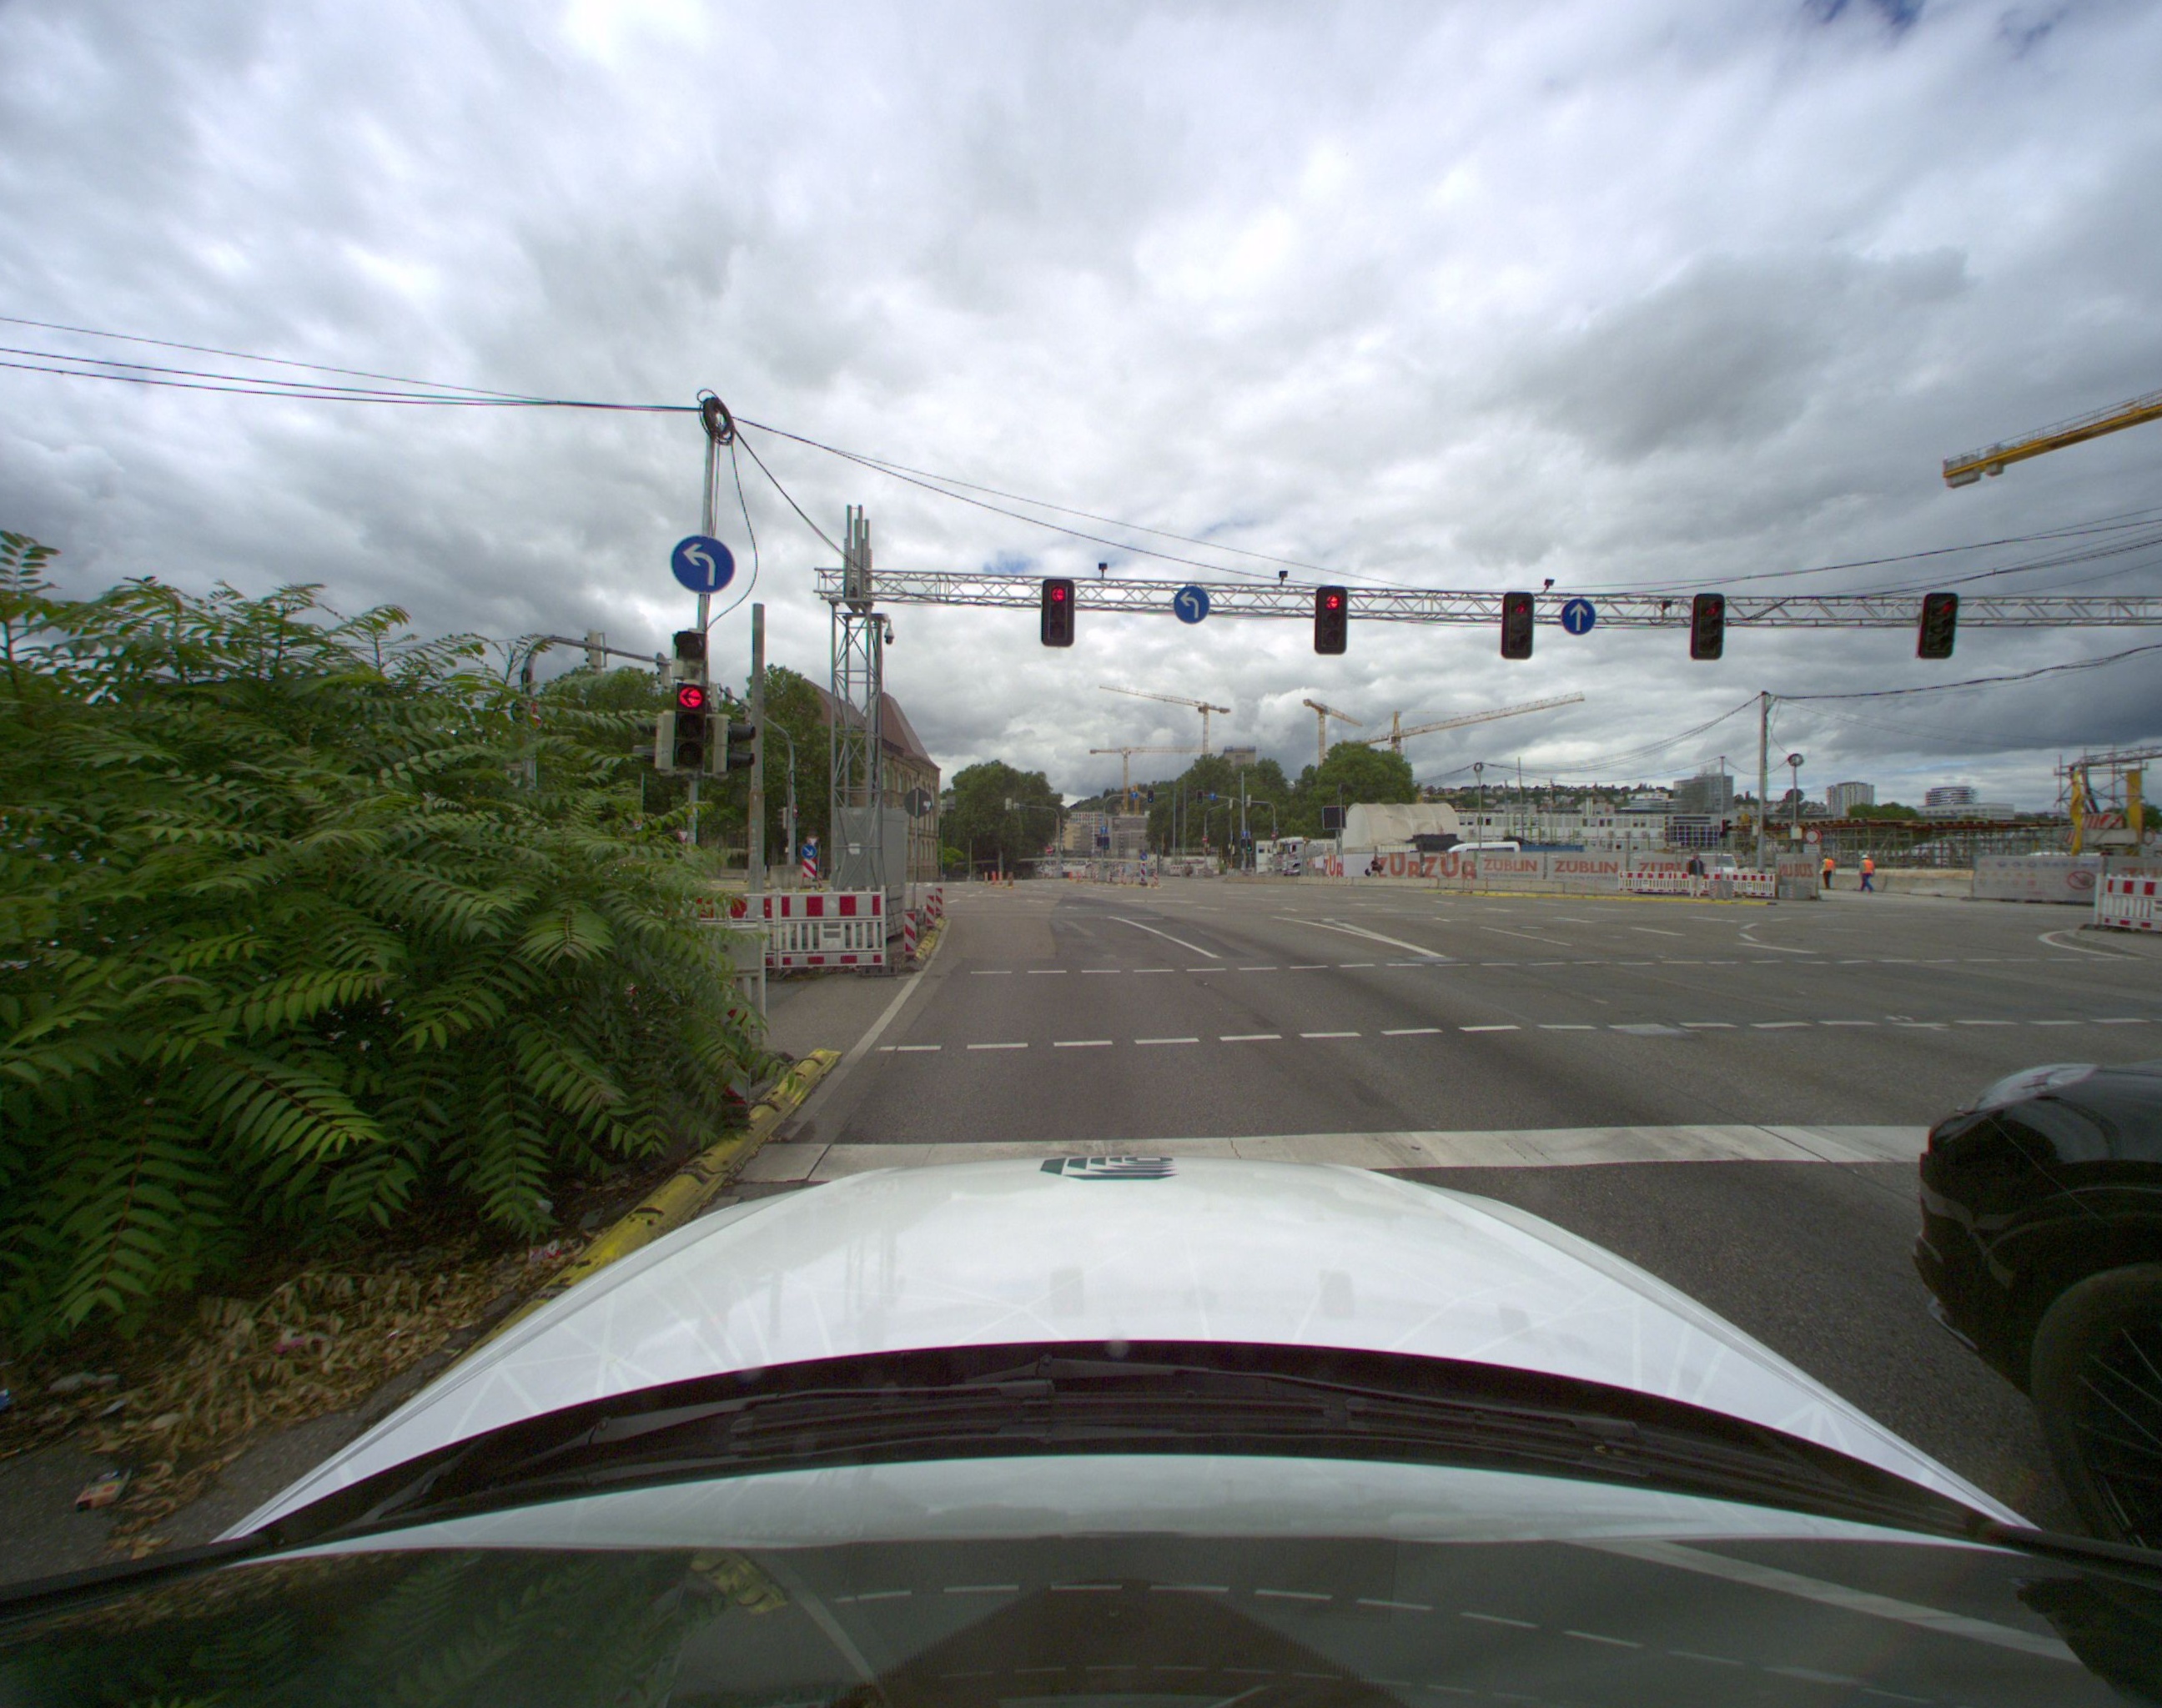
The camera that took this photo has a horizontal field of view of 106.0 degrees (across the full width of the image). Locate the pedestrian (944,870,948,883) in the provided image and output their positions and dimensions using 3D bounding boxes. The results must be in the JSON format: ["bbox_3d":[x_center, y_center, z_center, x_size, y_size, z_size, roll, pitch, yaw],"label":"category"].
[{"bbox_3d":[-21.312,3.499,128.255,0.522,2.014,0.567,0,0,2],"label":"pedestrian"}]

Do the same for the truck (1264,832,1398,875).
[{"bbox_3d":[25.035,-0.039,81.589,13.062,4.041,3.926,0,0,-18],"label":"truck"}]

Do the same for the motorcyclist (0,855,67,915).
[{"bbox_3d":[-25.624,0.733,19.800,0.963,1.423,0.745,0,0,-4],"label":"motorcyclist"}]

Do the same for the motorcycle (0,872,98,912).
[{"bbox_3d":[-25.478,0.923,19.814,2.051,0.924,0.756,0,0,-4],"label":"motorcycle"}]

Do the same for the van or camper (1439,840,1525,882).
[{"bbox_3d":[23.147,0.417,47.202,4.181,2.357,2.009,0,0,16],"label":"van or camper"}]

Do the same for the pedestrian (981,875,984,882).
[{"bbox_3d":[-21.969,5.485,181.322,0.534,1.592,0.515,0,0,-2],"label":"pedestrian"}]

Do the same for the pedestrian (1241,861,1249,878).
[{"bbox_3d":[16.878,1.578,83.964,0.615,1.689,0.716,0,0,31],"label":"pedestrian"}]

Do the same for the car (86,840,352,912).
[{"bbox_3d":[-21.254,0.527,20.259,4.302,1.676,1.998,0,0,-3],"label":"car"}]

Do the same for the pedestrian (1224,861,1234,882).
[{"bbox_3d":[12.248,1.451,67.364,0.726,1.689,0.678,0,0,1],"label":"pedestrian"}]

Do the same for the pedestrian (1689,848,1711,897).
[{"bbox_3d":[25.668,0.744,33.781,0.645,2.013,0.520,0,0,27],"label":"pedestrian"}]

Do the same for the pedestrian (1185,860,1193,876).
[{"bbox_3d":[11.070,1.449,83.734,0.726,1.689,0.678,0,0,1],"label":"pedestrian"}]

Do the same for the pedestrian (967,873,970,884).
[{"bbox_3d":[-21.494,4.662,155.912,0.522,2.014,0.567,0,0,2],"label":"pedestrian"}]

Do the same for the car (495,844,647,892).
[{"bbox_3d":[-18.825,0.499,30.251,4.315,1.676,1.992,0,0,-12],"label":"car"}]

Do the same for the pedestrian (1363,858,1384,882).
[{"bbox_3d":[17.005,0.905,47.356,0.799,1.378,0.899,0,0,-20],"label":"pedestrian"}]

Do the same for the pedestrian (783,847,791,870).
[{"bbox_3d":[-26.748,0.410,74.143,0.530,2.014,0.423,1,-1,-42],"label":"pedestrian"}]

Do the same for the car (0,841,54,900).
[{"bbox_3d":[-32.960,0.451,23.331,4.302,1.676,1.998,0,0,-3],"label":"car"}]

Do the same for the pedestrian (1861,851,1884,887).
[{"bbox_3d":[38.038,0.693,39.140,0.651,1.717,0.516,0,0,-9],"label":"pedestrian"}]

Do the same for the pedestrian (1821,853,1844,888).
[{"bbox_3d":[38.531,0.829,41.761,0.651,1.795,0.617,0,0,-7],"label":"pedestrian"}]
